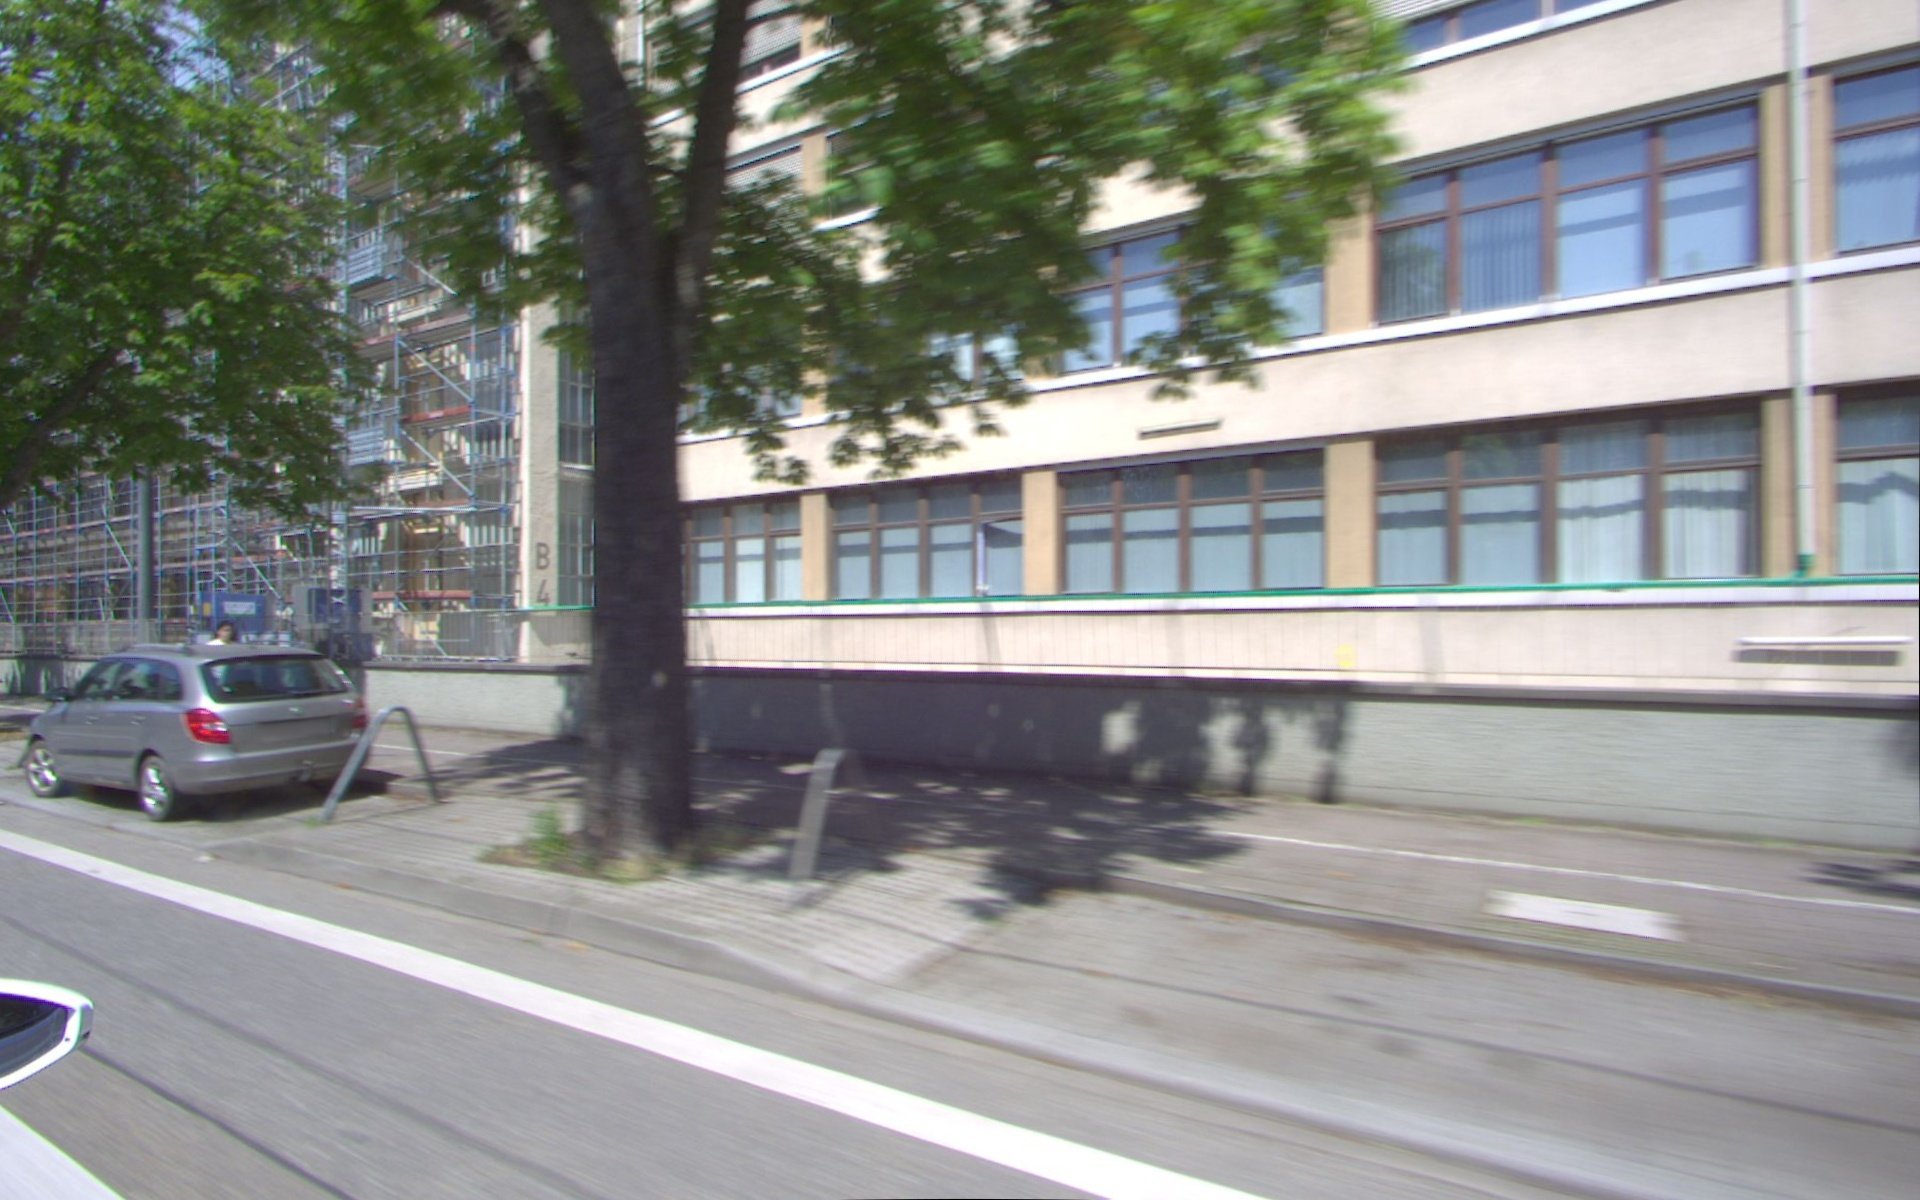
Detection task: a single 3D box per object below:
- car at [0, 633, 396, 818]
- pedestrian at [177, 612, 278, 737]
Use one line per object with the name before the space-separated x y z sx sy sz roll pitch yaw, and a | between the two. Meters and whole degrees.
car | -7.777 1.101 10.093 4.299 1.518 1.670 -1 -2 29
pedestrian | -9.858 0.974 13.484 0.906 1.610 0.798 0 0 31
